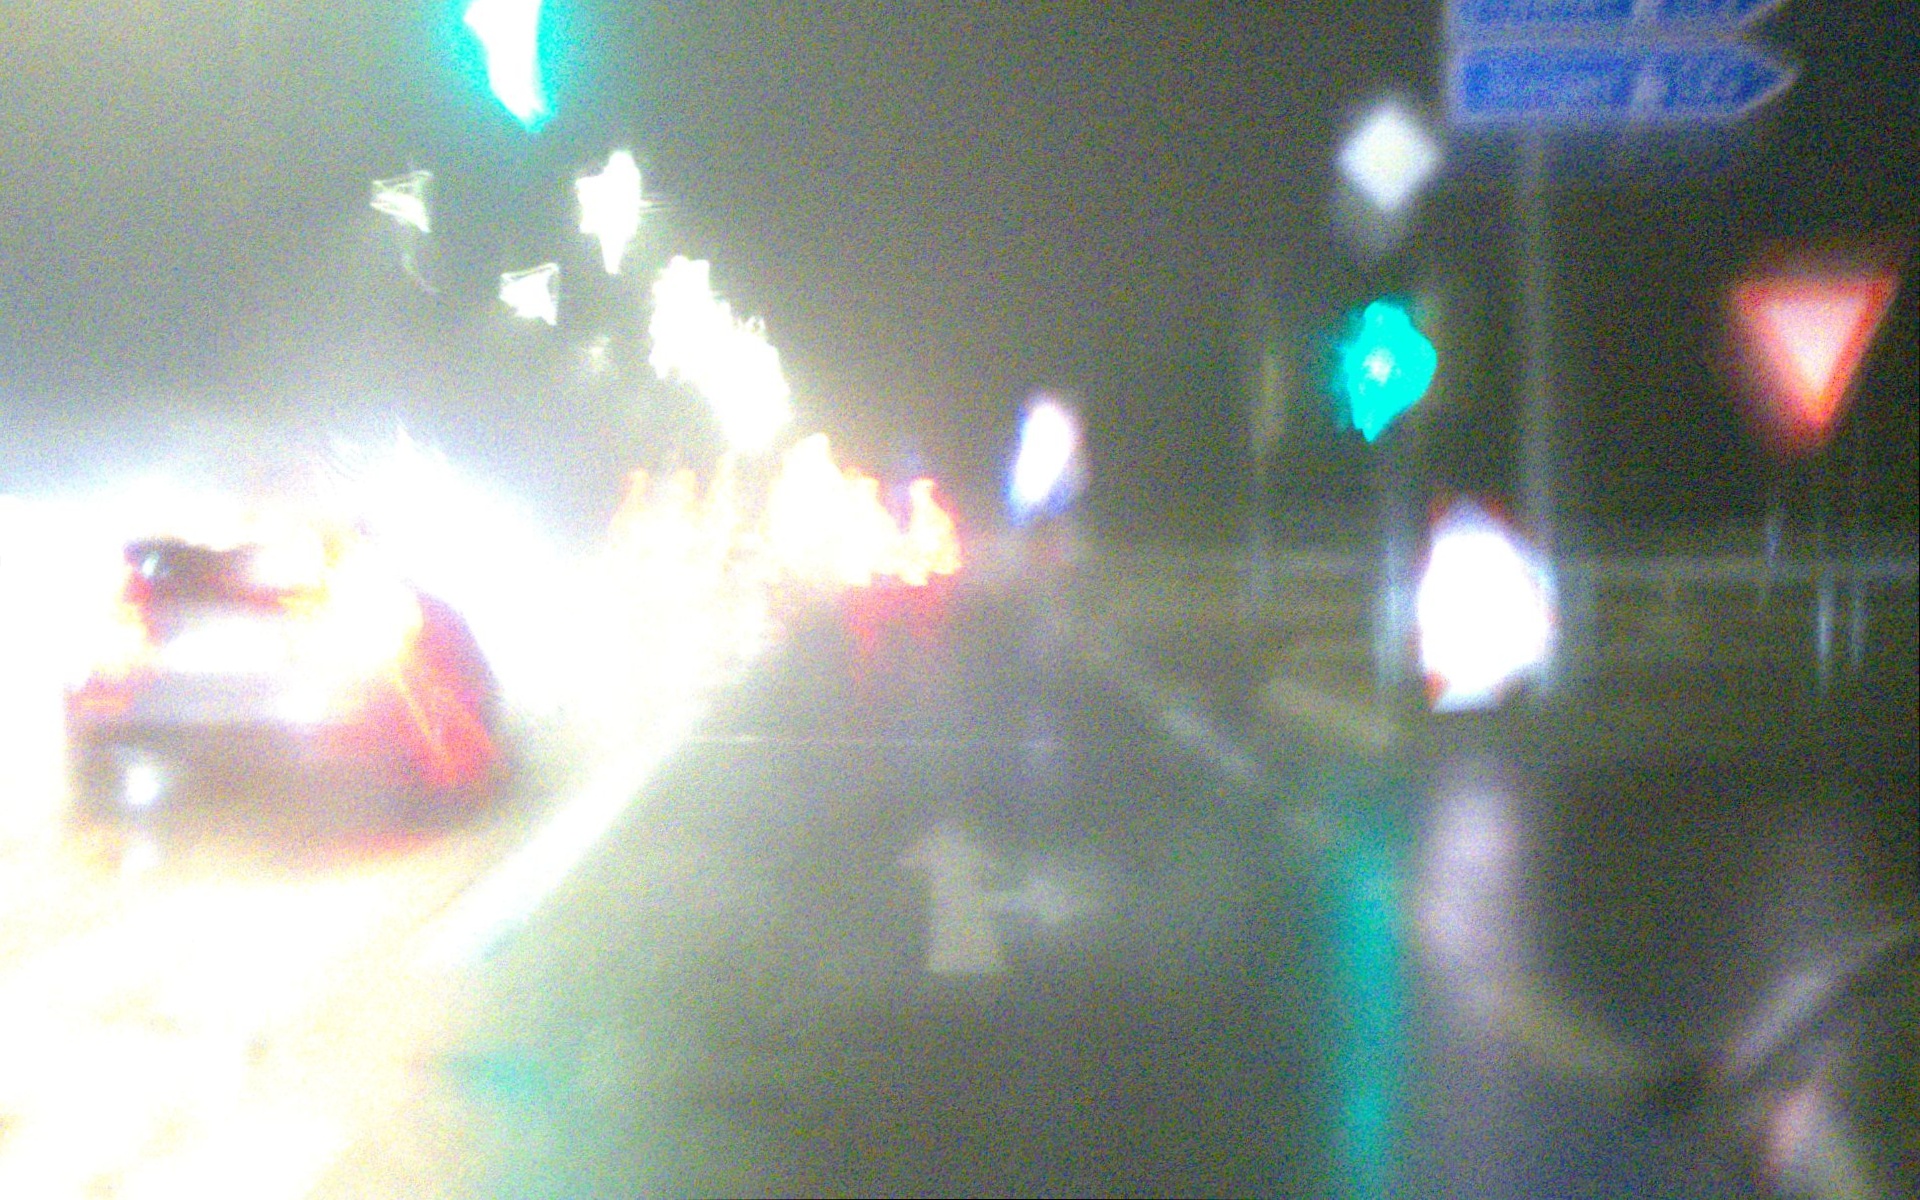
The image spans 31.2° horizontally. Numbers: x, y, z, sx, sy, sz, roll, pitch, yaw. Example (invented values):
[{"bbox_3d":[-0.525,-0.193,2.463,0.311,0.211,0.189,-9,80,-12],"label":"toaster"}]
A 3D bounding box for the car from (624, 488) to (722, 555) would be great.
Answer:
[{"bbox_3d":[-8.161,-2.219,98.125,2.178,1.596,3.999,4,-1,3],"label":"car"}]

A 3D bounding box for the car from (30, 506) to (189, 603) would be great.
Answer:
[{"bbox_3d":[-13.058,-0.720,52.945,1.589,1.422,3.351,0,2,0],"label":"car"}]

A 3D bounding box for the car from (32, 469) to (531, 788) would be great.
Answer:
[{"bbox_3d":[-3.435,0.087,18.189,1.796,1.447,4.269,1,1,0],"label":"car"}]

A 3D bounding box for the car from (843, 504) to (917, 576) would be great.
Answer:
[{"bbox_3d":[-2.371,-1.778,102.623,1.993,1.832,4.000,5,-1,-1],"label":"car"}]

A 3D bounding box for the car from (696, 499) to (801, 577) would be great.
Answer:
[{"bbox_3d":[-5.012,-1.451,81.912,2.177,1.596,4.000,4,-1,0],"label":"car"}]

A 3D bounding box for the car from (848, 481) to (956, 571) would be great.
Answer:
[{"bbox_3d":[-1.189,-1.527,72.269,1.910,1.596,3.999,4,-1,3],"label":"car"}]

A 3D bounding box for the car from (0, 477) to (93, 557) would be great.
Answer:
[{"bbox_3d":[-17.361,-1.559,63.783,1.664,1.443,3.820,0,2,-1],"label":"car"}]
